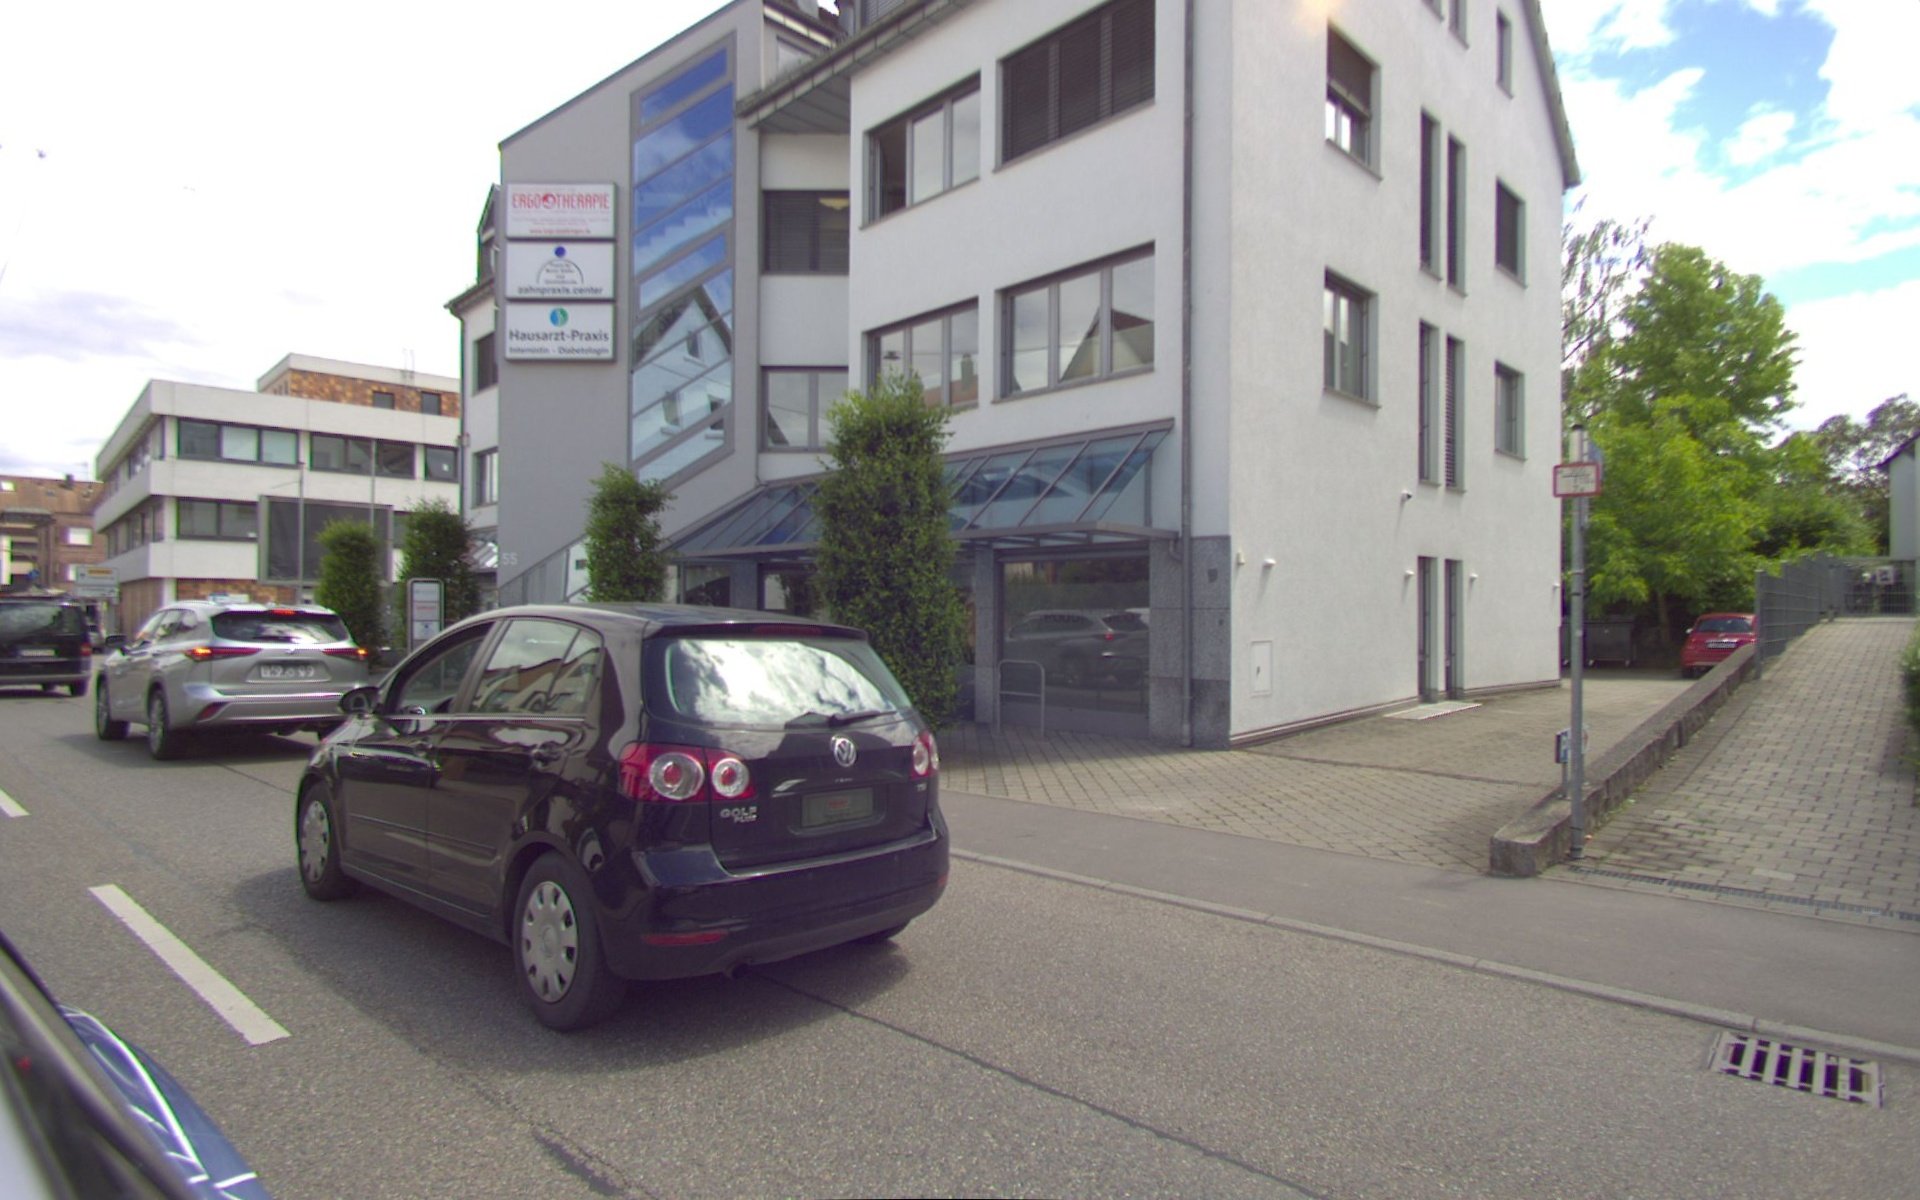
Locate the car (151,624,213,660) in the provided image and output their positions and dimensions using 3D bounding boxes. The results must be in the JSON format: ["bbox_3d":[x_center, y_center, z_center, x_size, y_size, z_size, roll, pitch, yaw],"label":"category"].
[{"bbox_3d":[-33.119,1.743,43.028,1.798,1.338,4.241,0,0,-42],"label":"car"}]

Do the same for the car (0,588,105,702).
[{"bbox_3d":[-19.870,0.913,21.264,4.879,2.168,2.089,-1,-2,40],"label":"car"}]

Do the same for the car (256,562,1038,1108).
[{"bbox_3d":[-1.776,0.746,4.999,4.035,1.596,1.813,-1,-3,41],"label":"car"}]

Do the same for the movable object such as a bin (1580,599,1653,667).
[{"bbox_3d":[17.456,0.853,26.929,1.507,1.744,1.073,0,0,41],"label":"movable object such as a bin"}]

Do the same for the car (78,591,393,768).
[{"bbox_3d":[-8.941,0.858,12.328,4.793,1.751,1.966,-1,-4,41],"label":"car"}]

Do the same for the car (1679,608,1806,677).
[{"bbox_3d":[18.511,0.942,23.883,3.939,1.453,1.722,0,0,-43],"label":"car"}]

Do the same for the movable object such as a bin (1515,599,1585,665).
[{"bbox_3d":[16.297,0.859,27.945,1.507,1.744,1.073,0,0,41],"label":"movable object such as a bin"}]

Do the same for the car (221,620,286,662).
[{"bbox_3d":[-31.346,1.798,44.870,1.870,1.710,3.806,3,-3,-42],"label":"car"}]
